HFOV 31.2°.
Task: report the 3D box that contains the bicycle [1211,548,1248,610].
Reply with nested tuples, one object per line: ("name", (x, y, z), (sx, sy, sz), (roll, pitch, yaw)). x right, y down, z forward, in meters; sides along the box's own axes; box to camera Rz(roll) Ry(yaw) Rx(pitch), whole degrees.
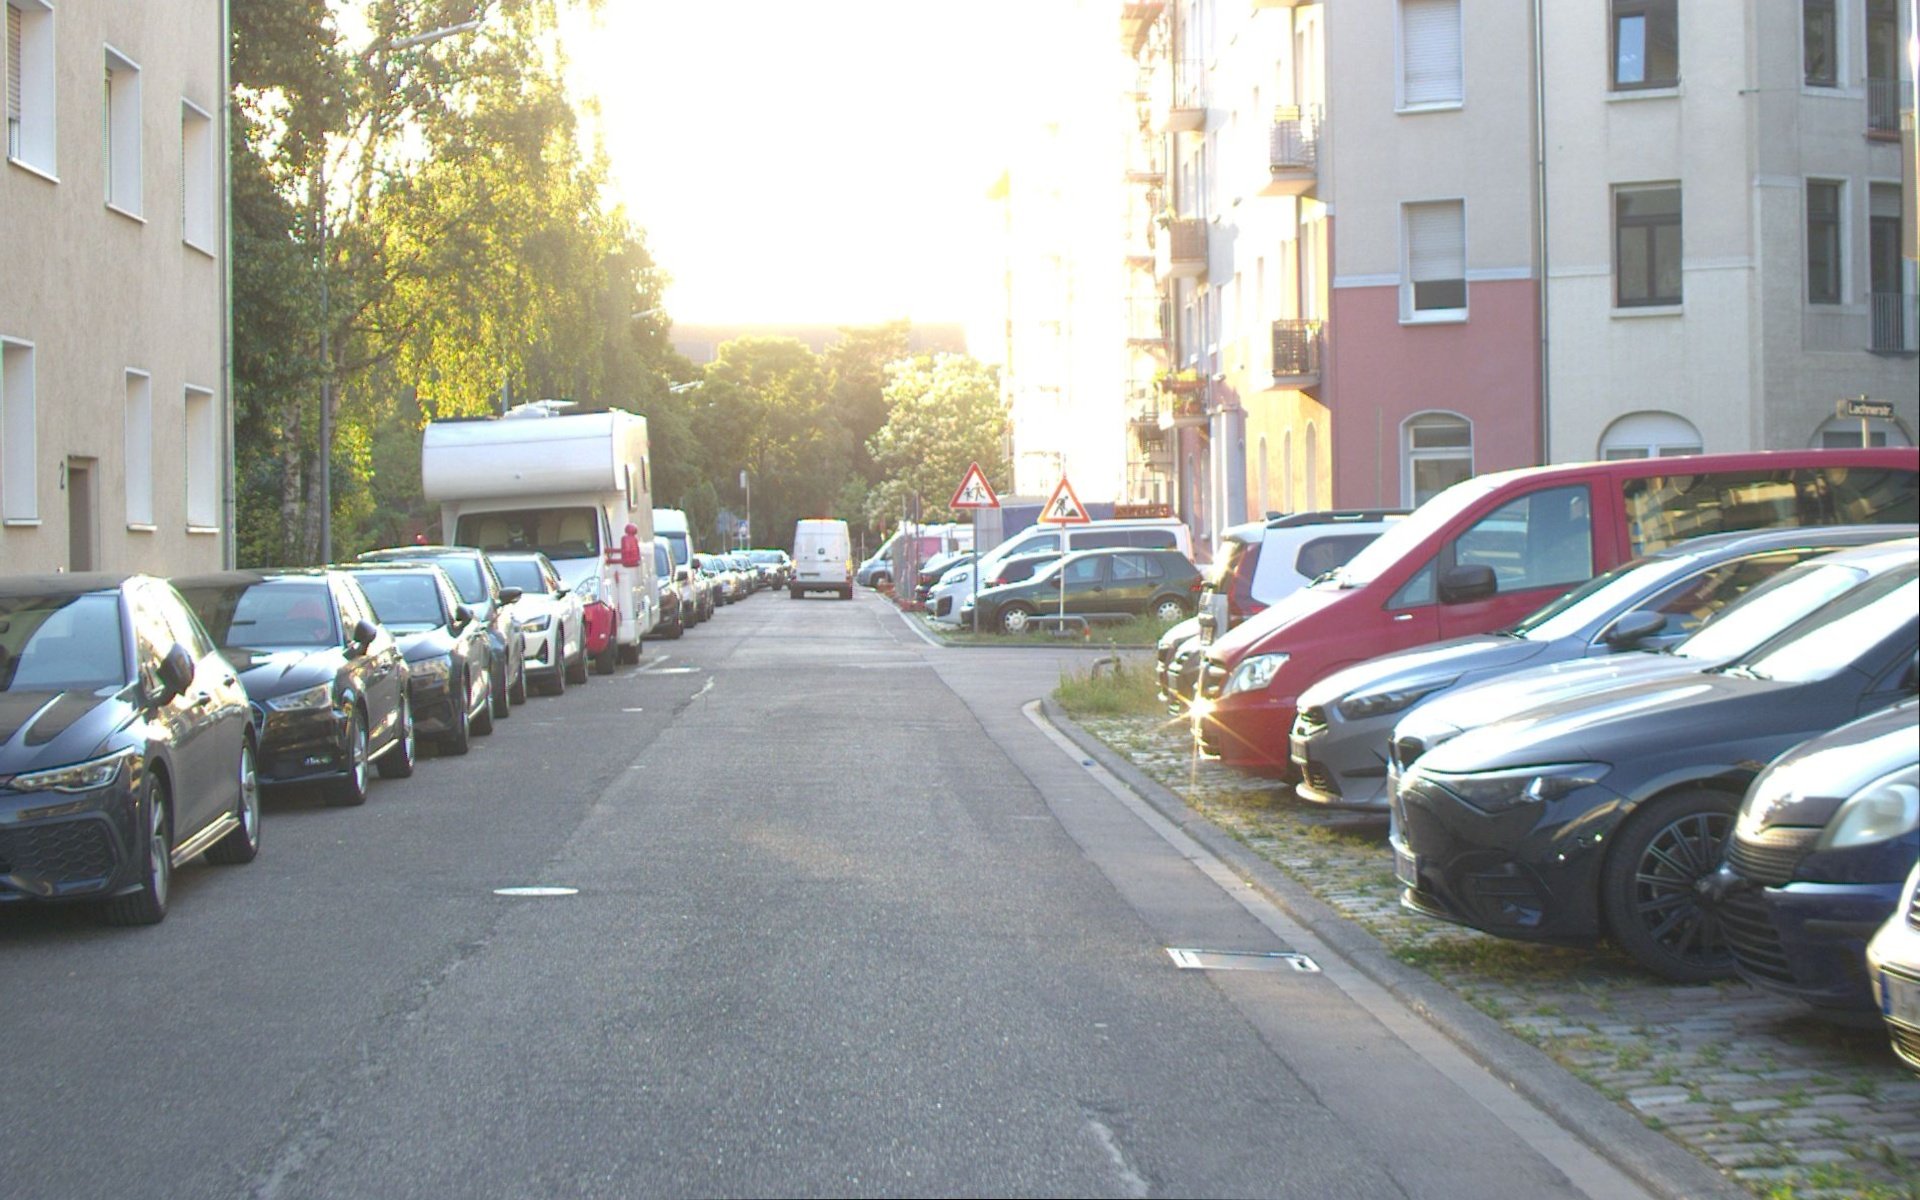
("bicycle", (5.524, -0.436, 70.581), (0.517, 1.224, 1.981), (0, 2, -2))

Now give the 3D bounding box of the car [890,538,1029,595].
("car", (-0.037, -0.991, 101.245), (3.986, 1.525, 1.659), (-2, 1, -2))

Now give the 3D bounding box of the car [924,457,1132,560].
("car", (1.358, -1.860, 69.660), (3.986, 2.007, 2.000), (-1, 1, -6))

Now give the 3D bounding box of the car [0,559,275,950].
("car", (-4.151, 0.591, 15.123), (1.659, 1.430, 4.032), (-2, 1, -4))

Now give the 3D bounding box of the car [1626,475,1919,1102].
("car", (4.078, 0.430, 10.214), (3.790, 1.689, 1.655), (-2, 1, -2))

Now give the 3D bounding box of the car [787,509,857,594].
("car", (-4.625, -1.650, 114.670), (2.128, 2.708, 4.834), (-2, 1, -4))

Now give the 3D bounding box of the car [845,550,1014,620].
("car", (-0.748, -0.374, 83.027), (3.986, 1.525, 1.659), (-2, 2, -2))

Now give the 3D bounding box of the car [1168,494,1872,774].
("car", (3.674, 0.199, 23.074), (4.323, 1.632, 1.818), (-2, 1, -3))

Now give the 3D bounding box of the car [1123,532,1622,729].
("car", (3.350, 0.228, 28.342), (3.811, 1.423, 1.635), (-2, 1, -3))

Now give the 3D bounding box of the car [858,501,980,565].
("car", (-1.692, -2.734, 139.378), (4.813, 2.399, 1.739), (-2, 2, -2))

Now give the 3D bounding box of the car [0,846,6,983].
("car", (-4.057, 0.666, 10.203), (1.615, 1.468, 3.505), (-2, 1, -4))

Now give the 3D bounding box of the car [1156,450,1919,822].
("car", (3.645, 0.165, 20.173), (4.721, 1.903, 2.059), (-2, 1, -3))

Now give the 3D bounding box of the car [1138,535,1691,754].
("car", (3.331, 0.306, 25.629), (3.811, 1.423, 1.635), (-2, 1, -3))

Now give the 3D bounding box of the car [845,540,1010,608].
("car", (-0.820, -0.655, 84.980), (3.986, 1.525, 1.659), (-2, 2, -2))

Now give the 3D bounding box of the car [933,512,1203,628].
("car", (1.972, -0.568, 63.511), (4.813, 1.961, 1.739), (-2, 2, -2))

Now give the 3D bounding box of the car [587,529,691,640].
("car", (-5.633, -0.309, 60.643), (1.652, 1.824, 3.877), (-2, 1, -4))

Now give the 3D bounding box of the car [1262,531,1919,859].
("car", (3.754, 0.433, 17.690), (4.144, 1.466, 1.636), (-2, 1, -3))

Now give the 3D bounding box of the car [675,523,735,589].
("car", (-7.449, -1.307, 100.648), (1.652, 1.824, 3.877), (-2, 1, -4))

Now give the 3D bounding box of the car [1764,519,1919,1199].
("car", (4.022, 0.545, 7.792), (3.955, 1.517, 1.706), (-1, 1, -2))

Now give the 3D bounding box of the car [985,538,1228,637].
("car", (2.489, -0.226, 58.879), (3.986, 1.525, 1.659), (-2, 2, -2))

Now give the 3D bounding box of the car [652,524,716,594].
("car", (-7.671, -1.166, 95.709), (1.652, 1.824, 3.877), (-2, 1, -4))

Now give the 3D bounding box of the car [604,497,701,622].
("car", (-6.336, -0.874, 71.217), (1.769, 2.437, 5.146), (-2, 1, -4))

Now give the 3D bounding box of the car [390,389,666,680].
("car", (-5.314, -0.856, 43.530), (2.620, 3.257, 7.698), (-2, 1, -2))

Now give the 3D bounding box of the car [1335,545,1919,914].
("car", (3.737, 0.498, 15.128), (3.874, 1.411, 1.637), (-2, 1, -4))

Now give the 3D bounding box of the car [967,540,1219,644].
("car", (2.163, -0.147, 56.552), (3.986, 1.525, 1.659), (-2, 2, -2))

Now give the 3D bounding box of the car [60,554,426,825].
("car", (-4.352, 0.482, 21.370), (1.652, 1.430, 3.797), (-2, 1, -4))

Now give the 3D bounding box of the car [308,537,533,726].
("car", (-4.935, 0.237, 31.856), (1.652, 1.559, 3.877), (-2, 1, -4))

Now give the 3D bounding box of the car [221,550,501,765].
("car", (-4.515, 0.380, 26.384), (1.652, 1.430, 3.877), (-2, 1, -4))

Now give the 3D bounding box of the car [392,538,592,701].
("car", (-4.886, 0.157, 36.294), (1.653, 1.536, 3.876), (-2, 1, -2))

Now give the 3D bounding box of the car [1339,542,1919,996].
("car", (3.666, 0.517, 12.498), (4.308, 1.444, 1.655), (-2, 1, -2))

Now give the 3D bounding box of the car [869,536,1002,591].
("car", (-0.760, -1.137, 105.381), (3.986, 1.525, 1.659), (-2, 2, -2))
